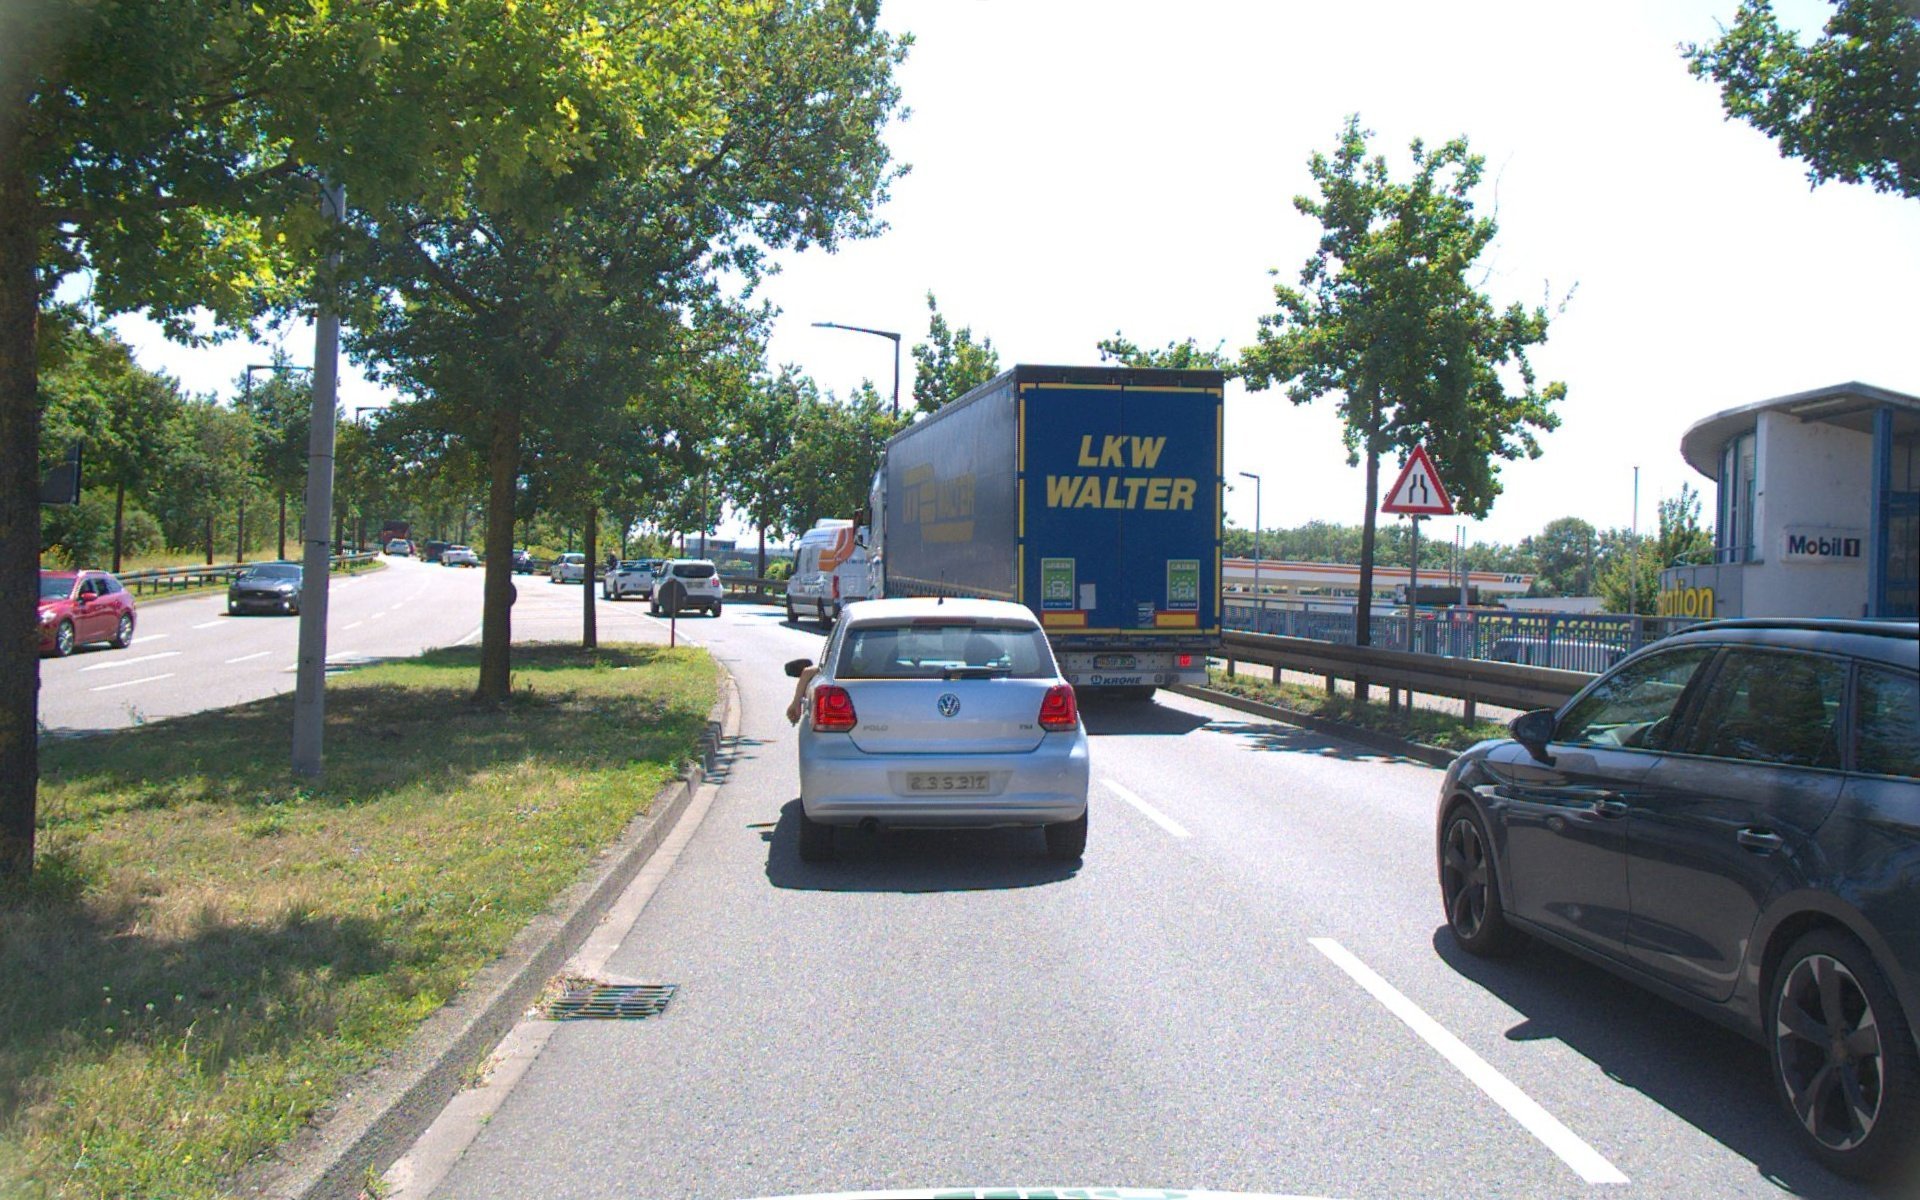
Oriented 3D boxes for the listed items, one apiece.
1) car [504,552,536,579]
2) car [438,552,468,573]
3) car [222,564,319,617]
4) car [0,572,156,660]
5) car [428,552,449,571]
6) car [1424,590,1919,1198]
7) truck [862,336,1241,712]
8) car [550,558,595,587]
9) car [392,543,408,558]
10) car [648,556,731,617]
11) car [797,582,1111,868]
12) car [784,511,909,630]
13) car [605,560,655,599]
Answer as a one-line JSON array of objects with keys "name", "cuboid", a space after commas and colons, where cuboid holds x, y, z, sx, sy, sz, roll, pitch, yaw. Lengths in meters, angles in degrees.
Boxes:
[{"name": "car", "cuboid": [-26.366, -2.057, 99.009, 1.639, 1.490, 3.562, 1, 0, -19]}, {"name": "car", "cuboid": [-34.307, -2.515, 111.874, 1.438, 1.337, 3.610, 1, 0, -24]}, {"name": "car", "cuboid": [-19.308, -0.250, 46.517, 1.778, 1.357, 4.553, 1, 0, -14]}, {"name": "car", "cuboid": [-16.410, 0.291, 29.894, 1.794, 1.462, 4.522, -1, 0, -4]}, {"name": "car", "cuboid": [-38.912, -2.863, 123.410, 1.396, 1.337, 3.319, 1, 0, -19]}, {"name": "car", "cuboid": [3.044, 0.740, 5.460, 1.573, 1.481, 4.232, 1, 0, -4]}, {"name": "truck", "cuboid": [0.609, -0.939, 27.271, 2.781, 4.271, 16.440, 1, 0, -9]}, {"name": "car", "cuboid": [-19.541, -1.392, 83.322, 1.587, 1.383, 3.635, 1, 0, -24]}, {"name": "car", "cuboid": [-48.896, -4.337, 144.340, 1.302, 1.158, 2.978, 1, 0, -19]}, {"name": "car", "cuboid": [-8.333, -0.386, 50.654, 1.874, 1.748, 4.202, 1, 0, -18]}, {"name": "car", "cuboid": [-0.172, 0.667, 10.390, 1.614, 1.464, 3.533, 1, 0, -5]}, {"name": "car", "cuboid": [-3.180, -0.825, 44.916, 2.140, 2.951, 6.333, 1, 1, -15]}, {"name": "car", "cuboid": [-12.553, -0.786, 62.731, 1.471, 1.383, 3.645, 1, 0, -17]}]
